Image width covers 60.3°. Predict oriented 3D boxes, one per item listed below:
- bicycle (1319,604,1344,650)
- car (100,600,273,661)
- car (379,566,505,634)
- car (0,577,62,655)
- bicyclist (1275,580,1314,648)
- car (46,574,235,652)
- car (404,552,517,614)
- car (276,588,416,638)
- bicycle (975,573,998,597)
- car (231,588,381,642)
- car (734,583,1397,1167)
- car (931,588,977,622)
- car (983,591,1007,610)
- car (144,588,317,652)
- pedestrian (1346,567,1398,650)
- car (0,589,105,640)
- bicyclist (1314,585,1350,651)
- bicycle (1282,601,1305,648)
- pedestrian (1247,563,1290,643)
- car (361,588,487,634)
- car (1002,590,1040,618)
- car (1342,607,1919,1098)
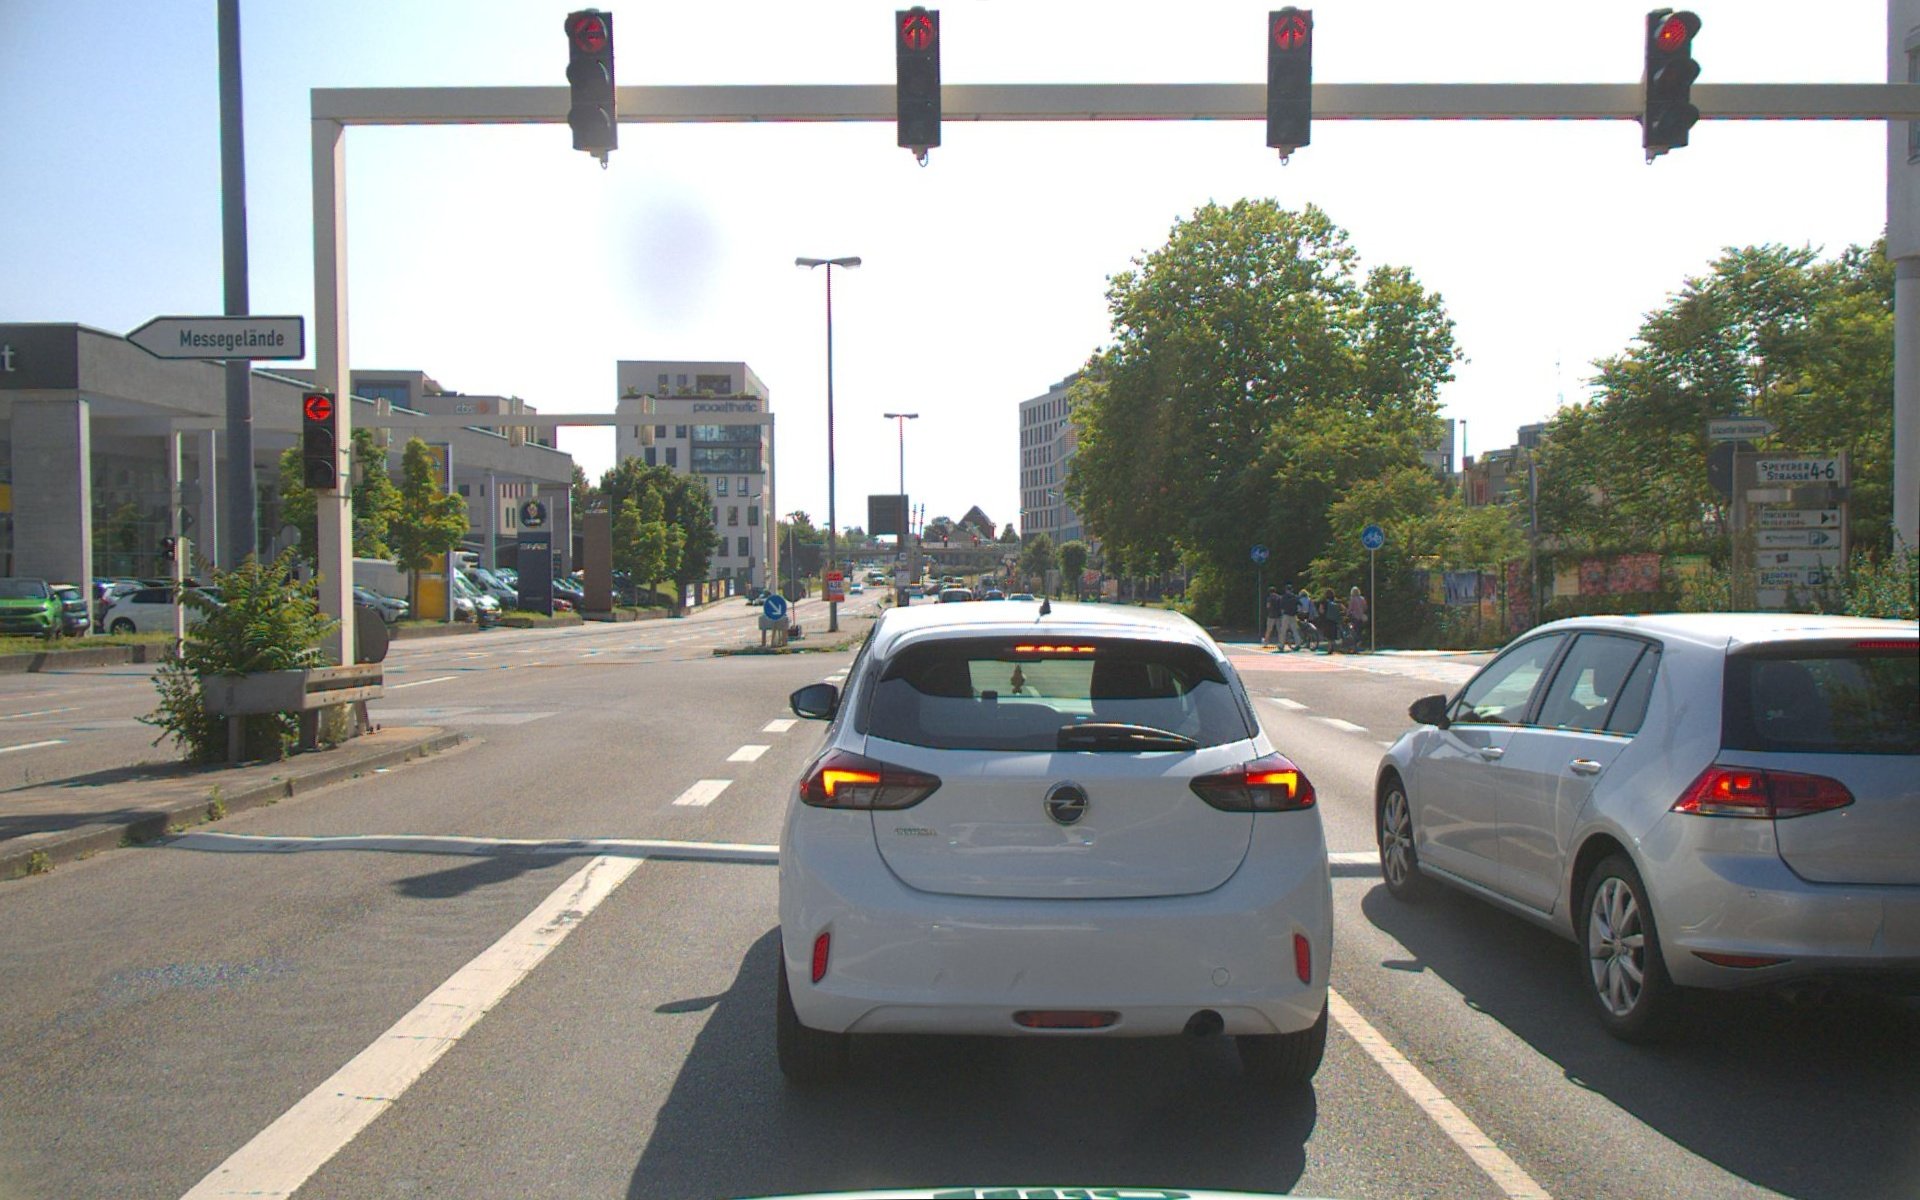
[{"bbox_3d":[9.585,0.698,42.701,0.366,1.167,1.034,1,-1,-3],"label":"bicycle"},{"bbox_3d":[-21.493,0.829,46.119,3.912,1.627,1.997,-1,0,-8],"label":"car"},{"bbox_3d":[-21.122,0.003,67.526,4.401,2.731,2.130,0,0,8],"label":"car"},{"bbox_3d":[-22.553,0.404,39.064,1.887,1.764,3.250,-1,-1,-37],"label":"car"},{"bbox_3d":[8.991,0.362,44.459,0.861,1.803,0.863,0,0,-1],"label":"bicyclist"},{"bbox_3d":[-20.722,0.310,41.958,3.793,1.870,1.999,-1,0,-4],"label":"car"},{"bbox_3d":[-21.966,-0.729,72.825,4.265,2.646,2.001,0,0,4],"label":"car"},{"bbox_3d":[-21.972,0.459,59.275,4.270,1.726,1.999,-1,0,-4],"label":"car"},{"bbox_3d":[2.469,-1.432,154.993,1.953,2.195,3.999,0,0,-1],"label":"bicycle"},{"bbox_3d":[-22.119,0.490,56.091,4.270,1.726,1.999,-1,0,-4],"label":"car"},{"bbox_3d":[0.248,0.711,6.366,1.743,1.520,3.999,0,0,-1],"label":"car"},{"bbox_3d":[-0.277,0.212,70.032,1.770,1.410,3.998,0,0,-2],"label":"car"},{"bbox_3d":[2.739,0.029,130.943,1.769,1.410,3.999,1,0,-1],"label":"car"},{"bbox_3d":[-21.435,0.580,48.737,4.211,1.796,1.999,-1,0,-4],"label":"car"},{"bbox_3d":[10.370,0.204,41.669,1.006,2.049,1.038,0,0,-1],"label":"pedestrian"},{"bbox_3d":[-26.255,0.431,45.645,4.276,1.290,1.996,-2,-1,-9],"label":"car"},{"bbox_3d":[9.606,0.455,42.697,0.675,1.672,0.775,0,0,-9],"label":"bicyclist"},{"bbox_3d":[8.966,0.651,44.464,0.365,1.238,1.153,1,0,-1],"label":"bicycle"},{"bbox_3d":[8.890,0.088,47.700,1.006,2.277,1.038,0,0,-1],"label":"pedestrian"},{"bbox_3d":[-21.052,0.424,65.079,4.264,1.726,2.002,-1,0,6],"label":"car"},{"bbox_3d":[3.184,0.214,87.317,1.769,1.410,3.999,1,0,-1],"label":"car"},{"bbox_3d":[3.086,0.766,7.026,1.771,1.454,3.997,0,0,-4],"label":"car"}]
